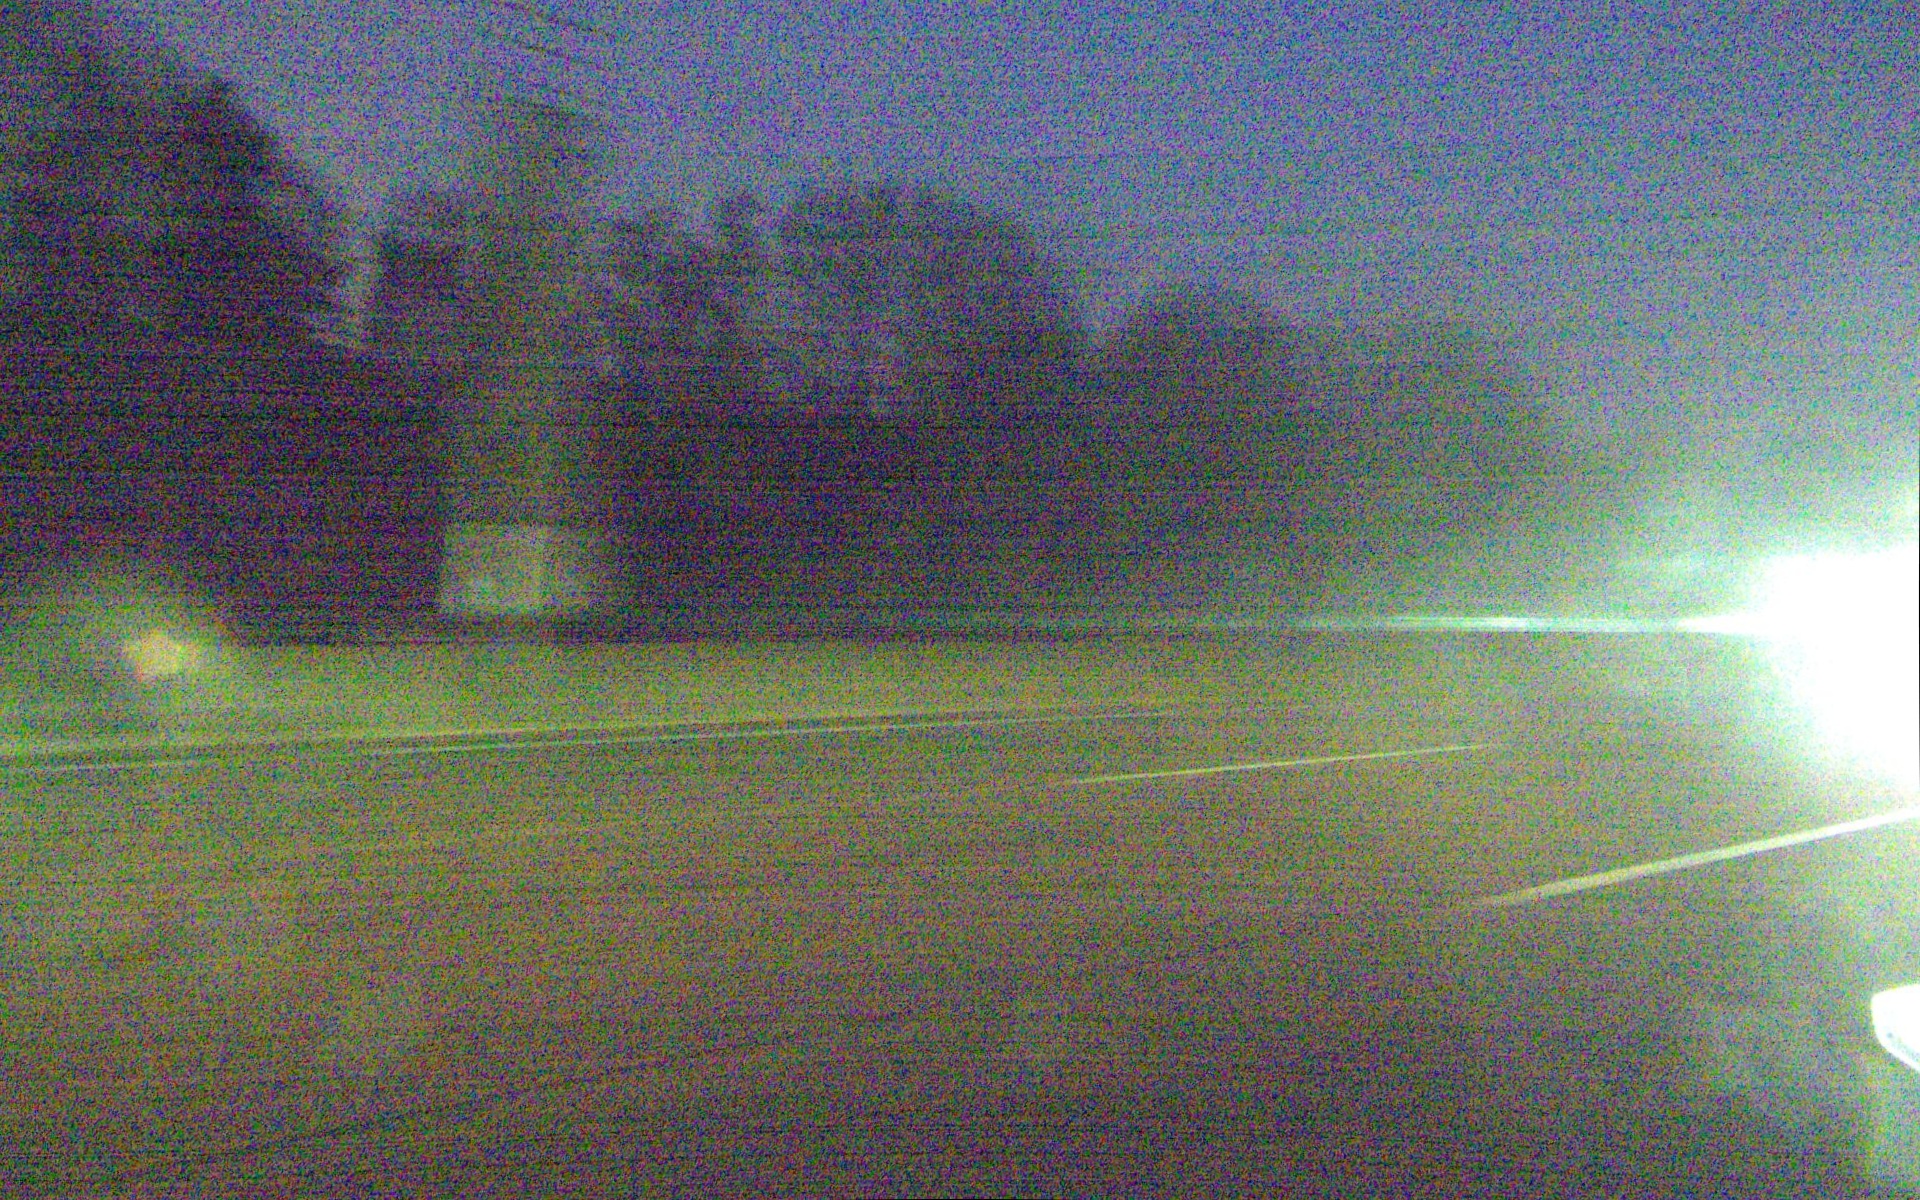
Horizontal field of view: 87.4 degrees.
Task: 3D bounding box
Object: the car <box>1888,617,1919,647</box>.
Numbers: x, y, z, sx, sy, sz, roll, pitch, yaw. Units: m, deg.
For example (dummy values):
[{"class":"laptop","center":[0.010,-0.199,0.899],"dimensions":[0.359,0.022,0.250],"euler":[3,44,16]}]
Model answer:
[{"class":"car","center":[57.327,1.936,59.760],"dimensions":[4.206,1.665,1.983],"euler":[1,1,-32]}]
